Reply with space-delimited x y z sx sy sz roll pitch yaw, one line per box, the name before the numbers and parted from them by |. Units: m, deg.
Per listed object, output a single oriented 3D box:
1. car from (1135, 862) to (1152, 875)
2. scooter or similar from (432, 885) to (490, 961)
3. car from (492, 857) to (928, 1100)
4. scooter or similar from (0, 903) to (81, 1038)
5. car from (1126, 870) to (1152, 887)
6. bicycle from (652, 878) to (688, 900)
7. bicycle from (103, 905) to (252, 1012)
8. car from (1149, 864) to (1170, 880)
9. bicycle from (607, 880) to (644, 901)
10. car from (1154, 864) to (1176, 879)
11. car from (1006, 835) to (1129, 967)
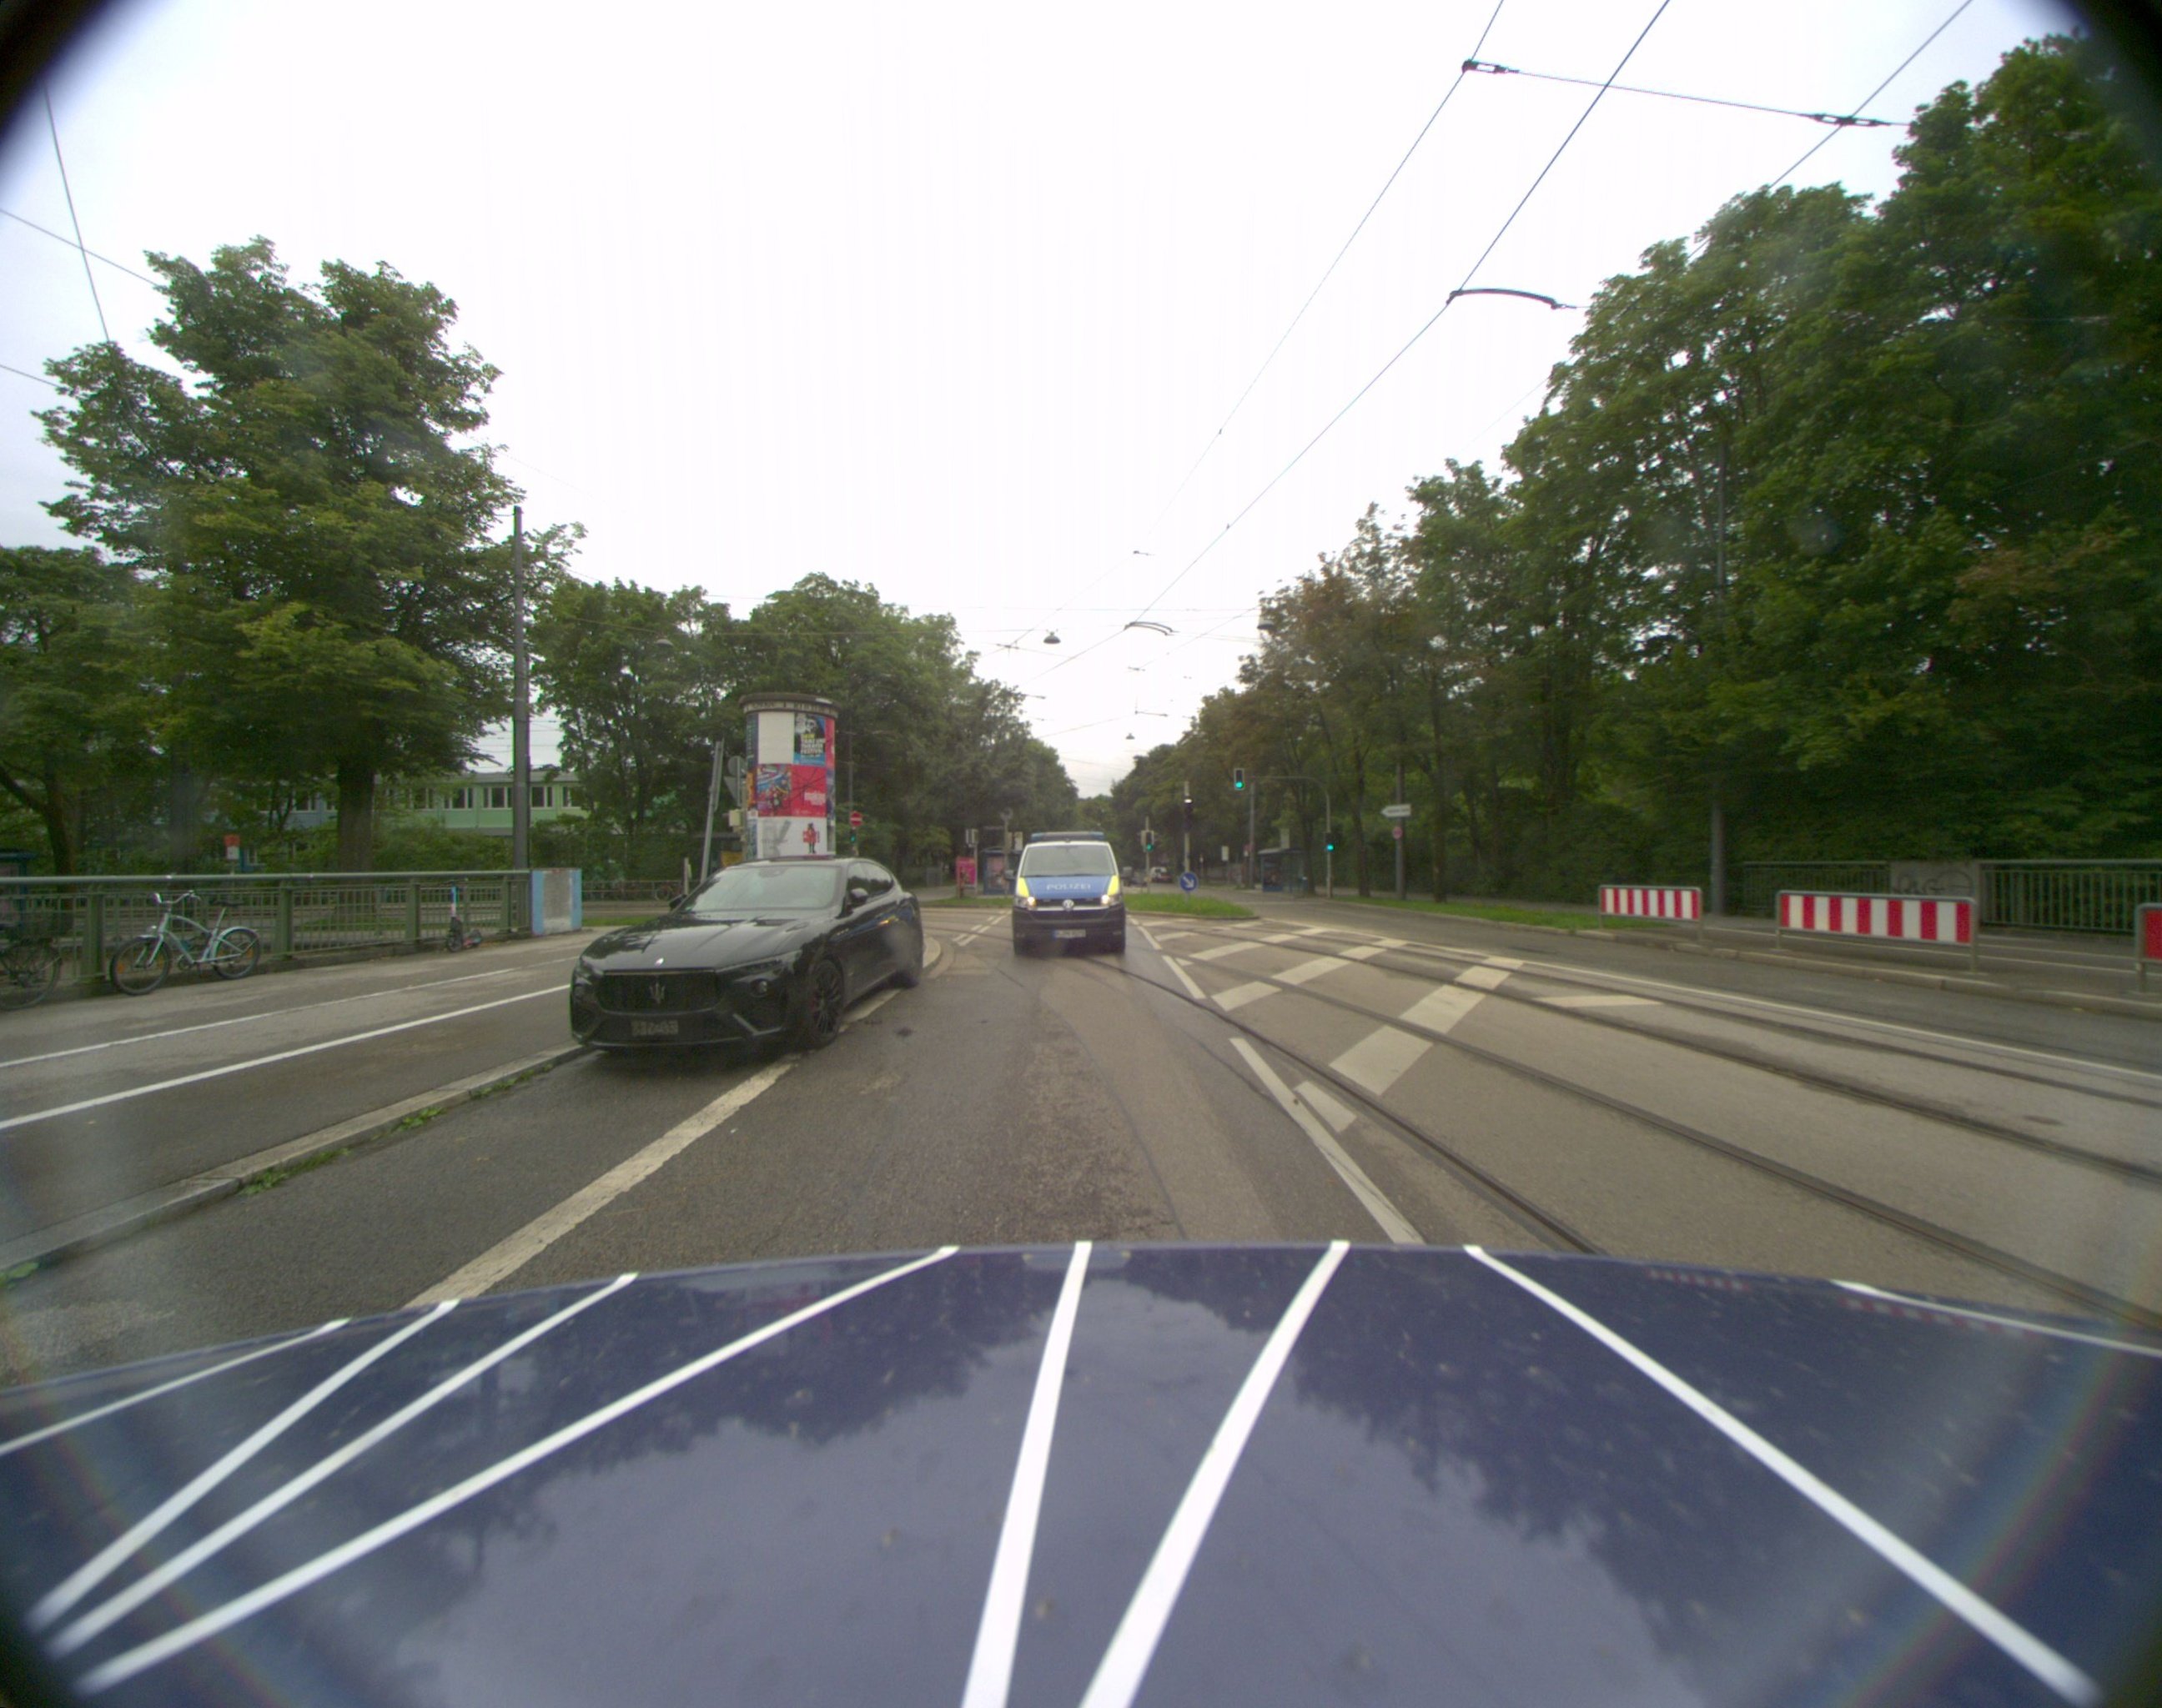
car | 8.557 1.972 105.050 1.888 1.716 3.999 -2 0 -1
scooter or similar | -10.612 1.153 13.034 0.225 1.205 1.020 -2 0 -8
car | -3.027 0.886 7.556 1.905 1.600 4.665 -2 -1 1
scooter or similar | -10.602 1.146 7.412 0.245 1.255 1.493 -3 0 -22
car | 4.998 2.092 66.087 1.628 1.380 4.839 1 -1 -3
bicycle | -18.791 1.589 34.744 1.483 0.946 0.373 -1 1 3
bicycle | -10.757 1.202 9.113 0.265 1.076 1.540 -2 0 -14
car | 9.295 2.072 90.387 1.888 1.716 3.999 -2 0 -1
bicycle | -20.971 1.680 35.001 1.483 0.946 0.373 -1 1 3
car | 9.304 1.901 84.638 1.888 1.531 3.999 -2 0 -1
car | -0.261 0.733 14.700 1.903 2.041 5.708 0 0 -1
